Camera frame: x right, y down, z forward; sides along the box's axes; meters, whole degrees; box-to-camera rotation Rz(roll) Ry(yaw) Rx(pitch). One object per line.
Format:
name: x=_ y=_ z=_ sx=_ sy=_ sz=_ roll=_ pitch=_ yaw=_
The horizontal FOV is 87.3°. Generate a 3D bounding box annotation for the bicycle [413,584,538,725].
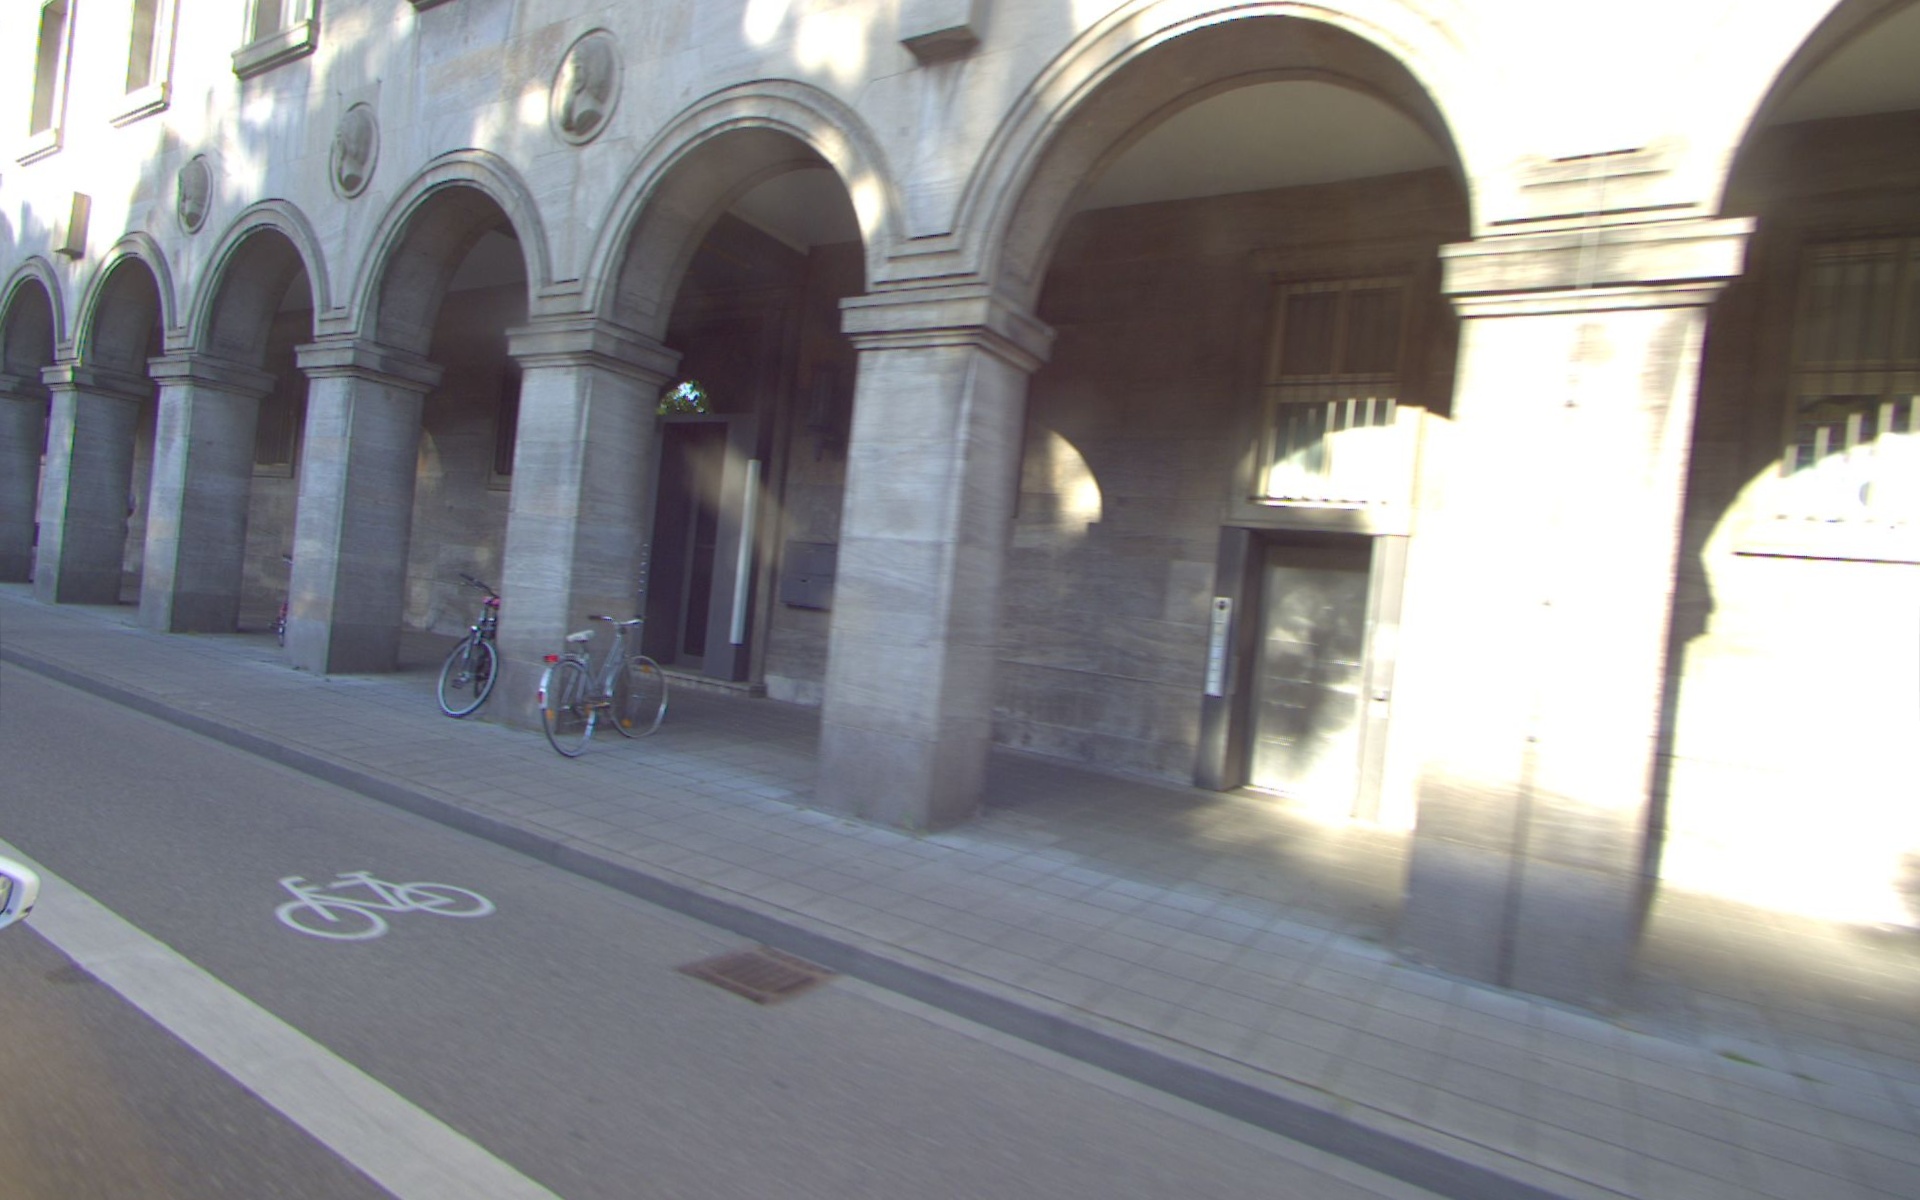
bicycle: x=-4.263 y=0.431 z=8.969 sx=0.602 sy=1.064 sz=1.707 roll=5 pitch=1 yaw=-15

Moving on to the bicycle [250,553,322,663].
bicycle: x=-7.529 y=0.065 z=11.210 sx=0.468 sy=1.064 sz=1.694 roll=4 pitch=2 yaw=-39

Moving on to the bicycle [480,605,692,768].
bicycle: x=-2.800 y=0.609 z=7.743 sx=0.518 sy=1.064 sz=1.712 roll=6 pitch=1 yaw=17
